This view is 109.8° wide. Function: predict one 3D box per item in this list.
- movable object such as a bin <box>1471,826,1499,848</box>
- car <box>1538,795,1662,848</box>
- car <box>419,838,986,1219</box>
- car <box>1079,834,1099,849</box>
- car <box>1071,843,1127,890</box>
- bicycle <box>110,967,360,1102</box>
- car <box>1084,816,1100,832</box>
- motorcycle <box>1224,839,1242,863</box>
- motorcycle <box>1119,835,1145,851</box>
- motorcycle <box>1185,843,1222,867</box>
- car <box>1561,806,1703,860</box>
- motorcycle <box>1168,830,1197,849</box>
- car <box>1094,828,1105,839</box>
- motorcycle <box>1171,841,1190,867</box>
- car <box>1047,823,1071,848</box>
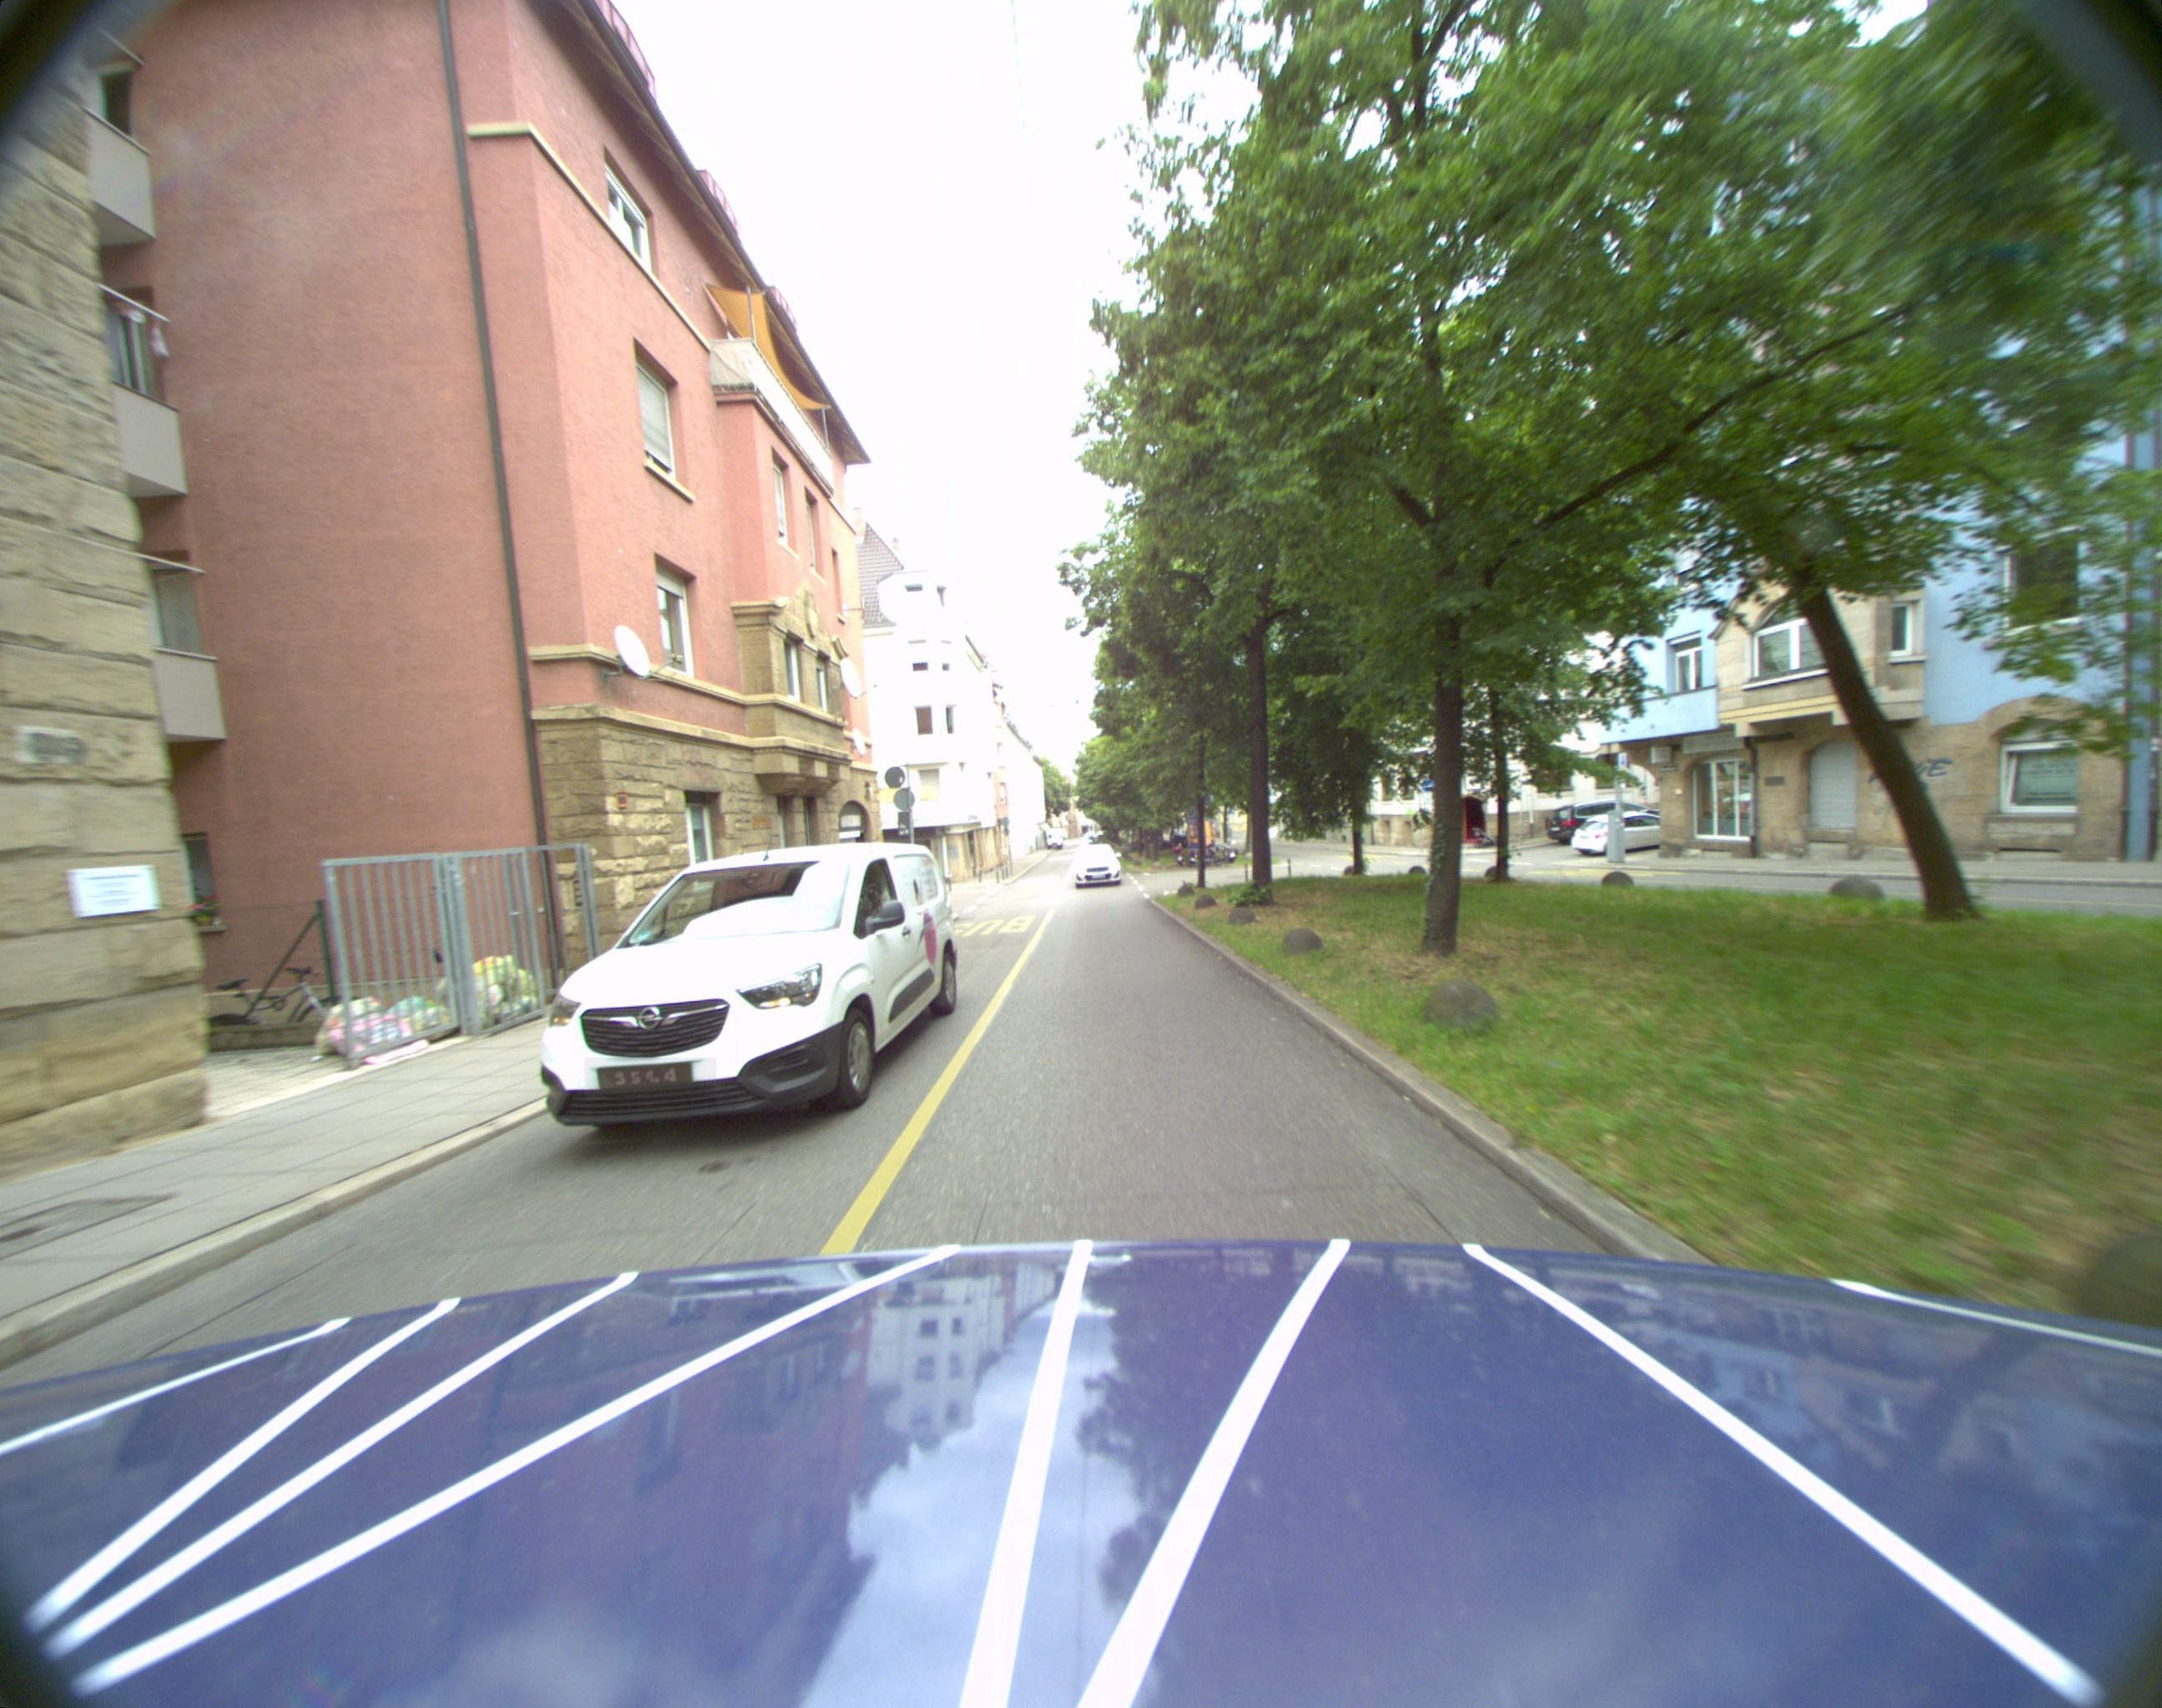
[{"bbox_3d":[19.386,-0.826,36.447,0.888,0.988,0.668,-6,2,-1],"label":"movable object such as a bin"},{"bbox_3d":[22.756,-1.437,33.426,4.007,1.690,1.871,-8,2,2],"label":"car"},{"bbox_3d":[-2.312,0.894,6.497,1.853,1.815,5.020,-5,2,5],"label":"car"},{"bbox_3d":[0.869,-1.300,79.070,1.854,1.361,4.280,-5,2,2],"label":"car"},{"bbox_3d":[0.656,0.435,31.134,1.854,1.595,4.560,-4,2,-2],"label":"car"},{"bbox_3d":[-9.142,1.934,8.255,1.928,1.037,0.551,-9,1,0],"label":"bicycle"},{"bbox_3d":[2.143,-6.019,151.797,3.026,3.045,7.165,-3,3,0],"label":"car"},{"bbox_3d":[7.911,-0.171,39.640,0.750,1.068,1.851,-4,4,8],"label":"motorcycle"},{"bbox_3d":[4.279,-0.917,63.947,2.041,1.126,0.453,-4,4,1],"label":"motorcycle"},{"bbox_3d":[6.151,0.047,38.096,1.735,1.090,0.550,-4,4,4],"label":"motorcycle"},{"bbox_3d":[20.894,-0.827,28.912,4.007,1.462,1.870,-8,4,-2],"label":"car"},{"bbox_3d":[8.957,-1.284,67.185,2.424,1.475,0.963,-2,4,1],"label":"motorcycle"},{"bbox_3d":[5.629,-6.226,230.620,3.026,3.045,7.165,-3,3,0],"label":"car"},{"bbox_3d":[5.198,-0.012,39.785,0.888,1.090,2.481,-4,4,8],"label":"motorcycle"},{"bbox_3d":[-2.956,-2.623,103.653,3.026,3.045,7.165,-3,3,0],"label":"car"}]
